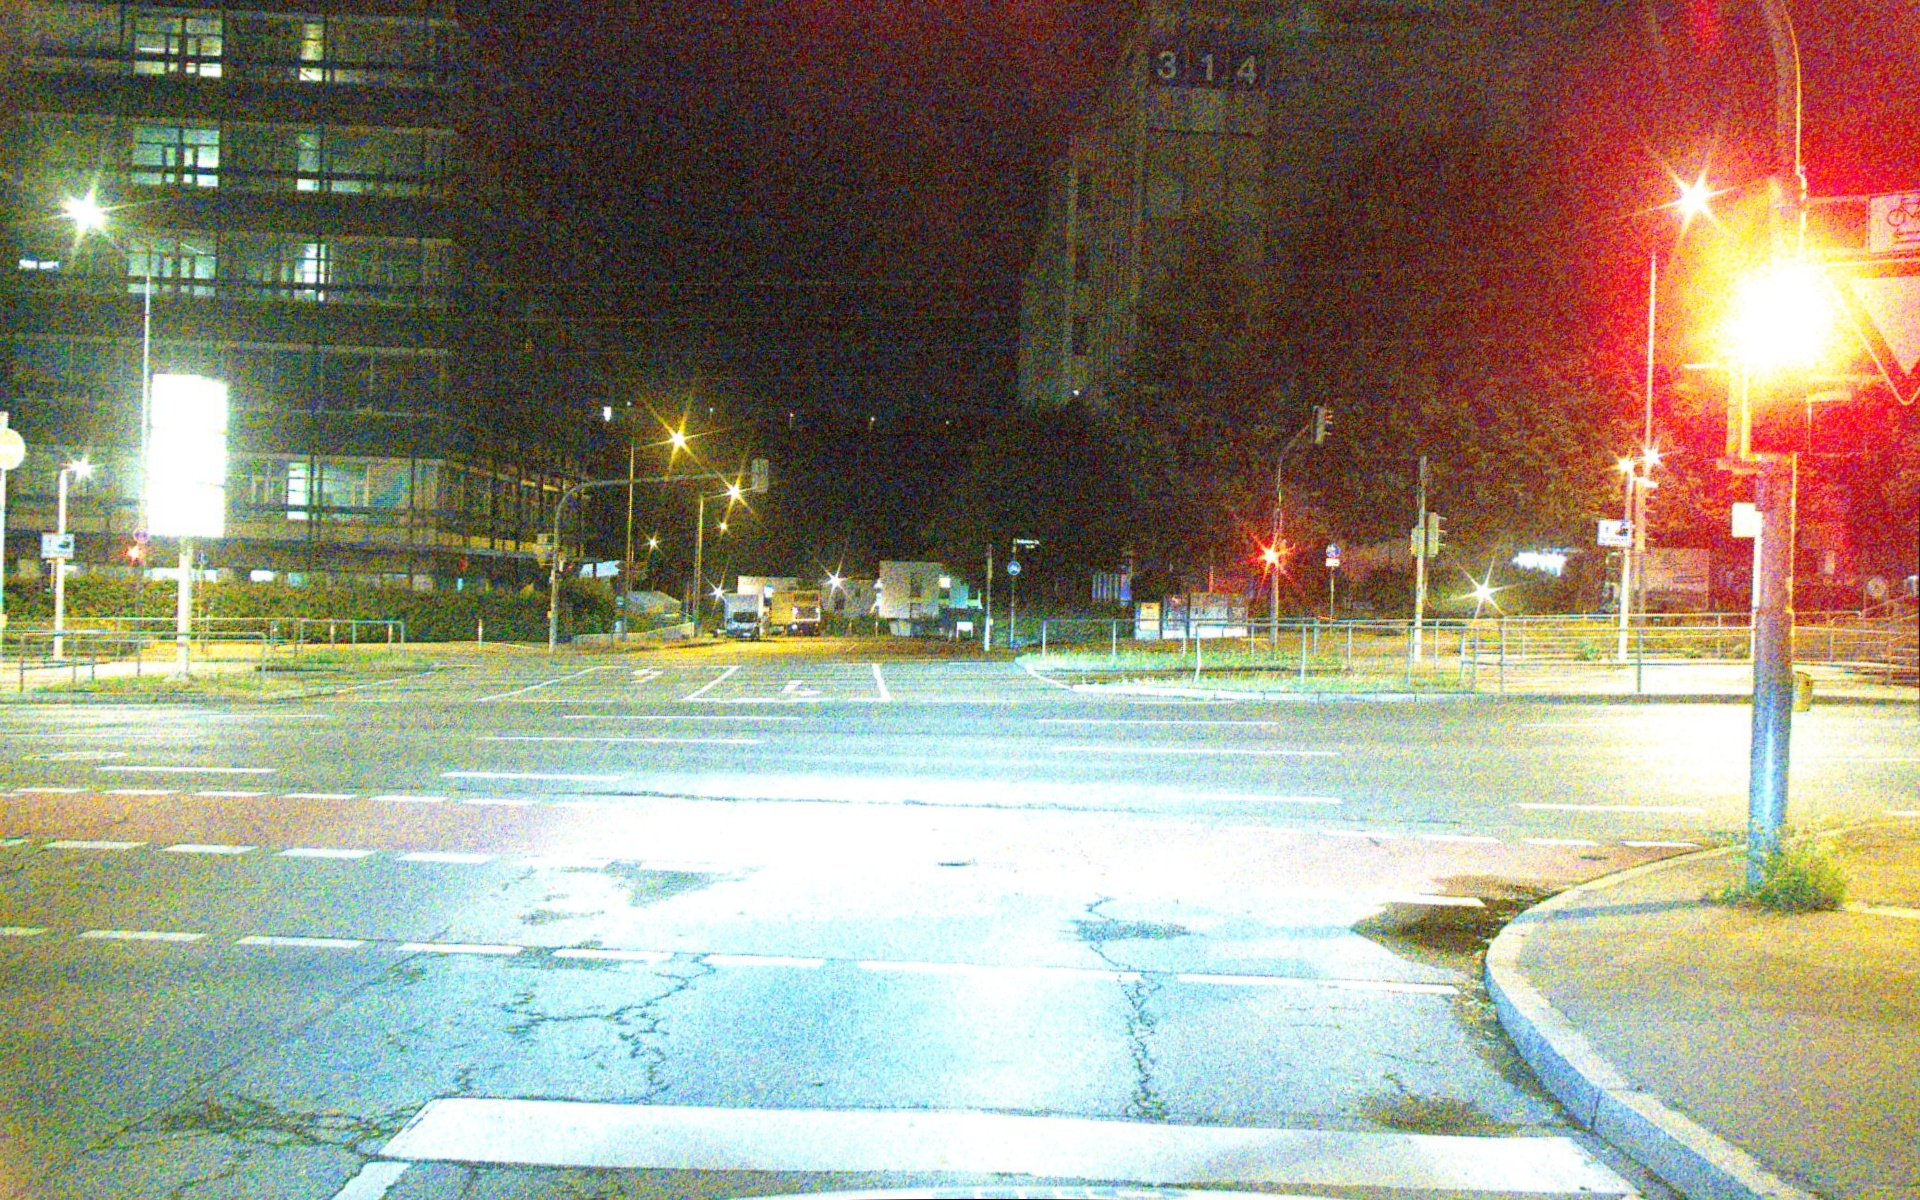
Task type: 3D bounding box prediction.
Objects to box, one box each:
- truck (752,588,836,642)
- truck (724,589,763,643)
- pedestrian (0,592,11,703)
[{"bbox_3d":[-15.288,1.300,150.975,4.751,4.627,12.593,1,0,-19],"label":"truck"},{"bbox_3d":[-15.607,1.136,119.059,2.535,3.772,5.724,1,0,-9],"label":"truck"},{"bbox_3d":[-14.715,0.706,24.631,0.656,1.663,0.862,1,-1,-5],"label":"pedestrian"}]
